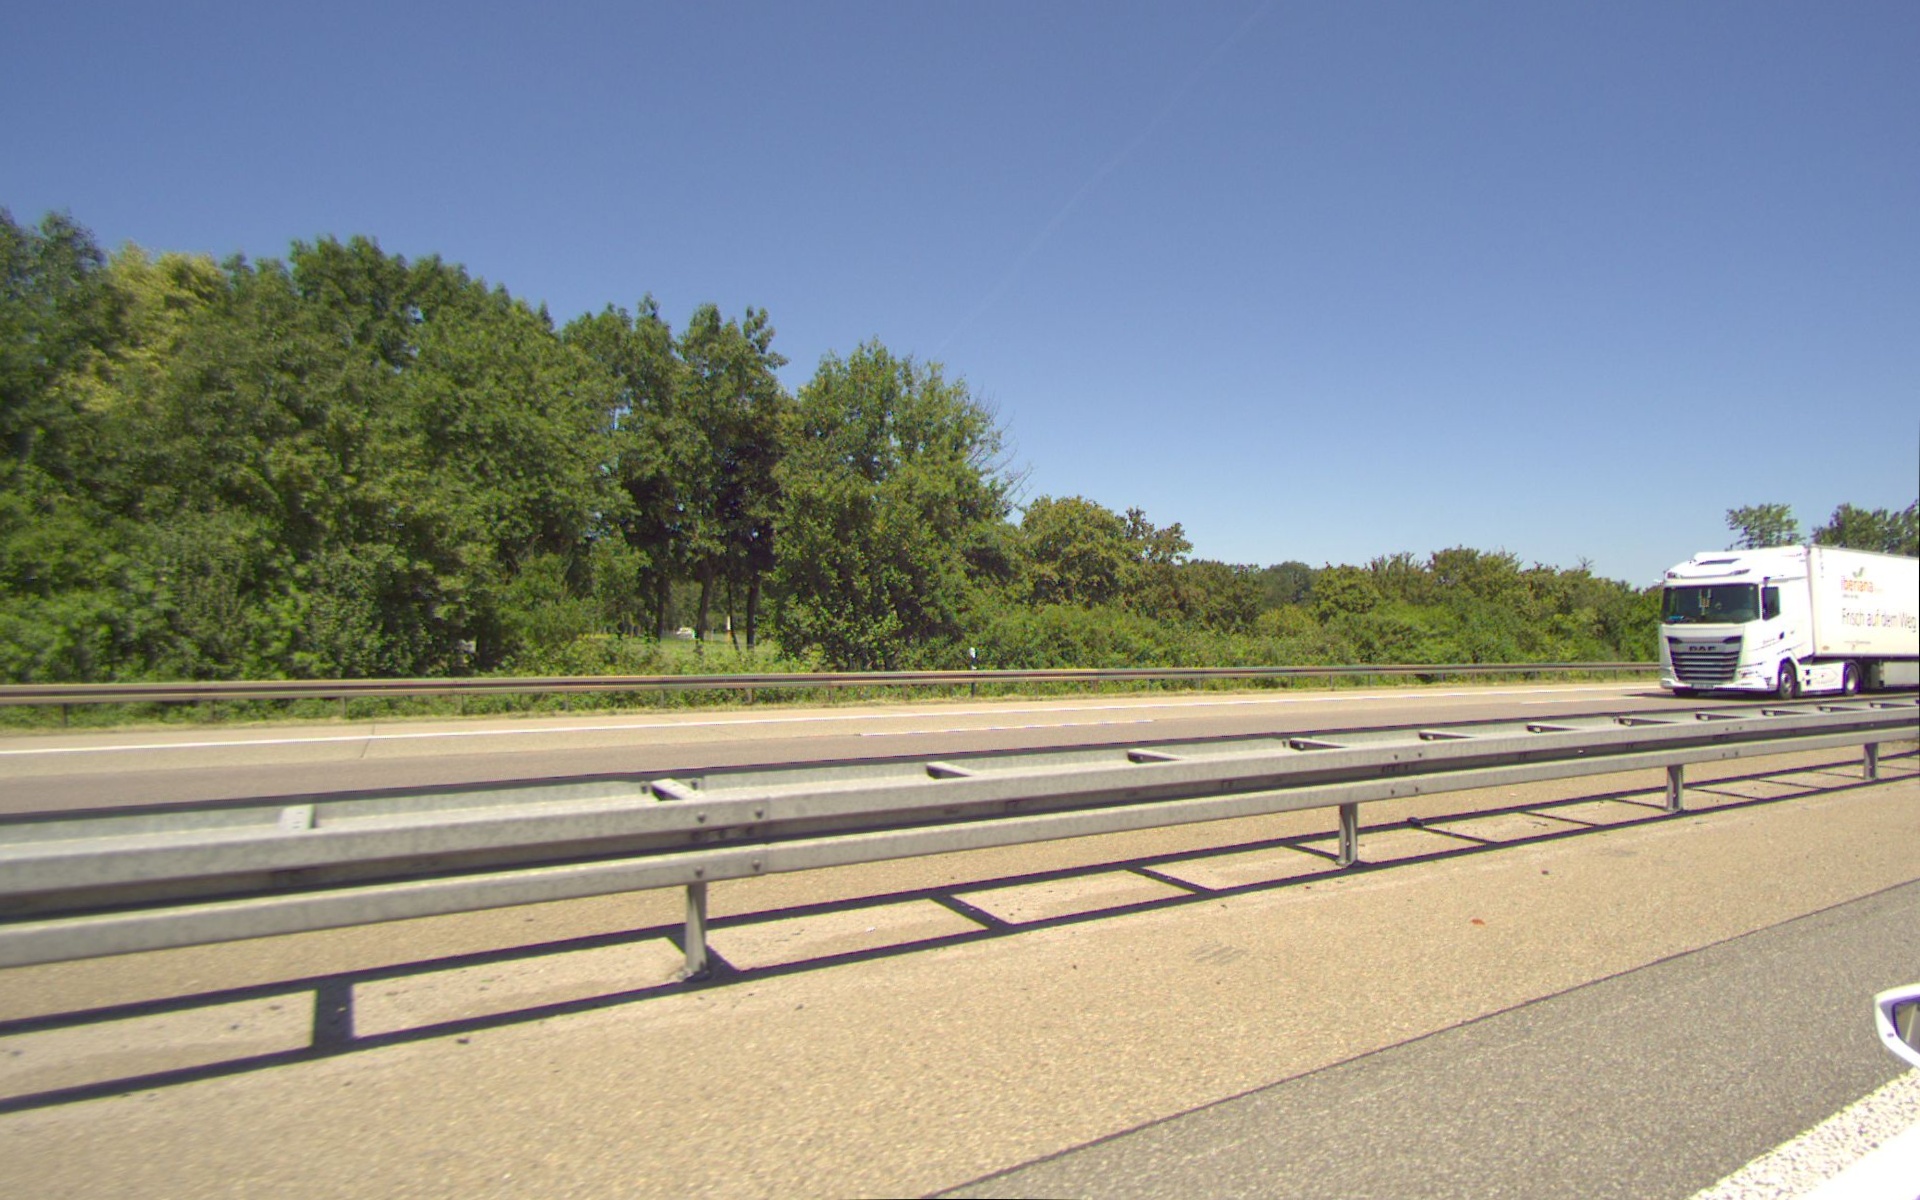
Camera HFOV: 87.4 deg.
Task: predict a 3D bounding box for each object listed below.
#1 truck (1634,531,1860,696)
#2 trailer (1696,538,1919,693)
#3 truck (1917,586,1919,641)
[{"bbox_3d":[21.897,0.471,27.896,6.142,4.138,2.729,1,-3,-29],"label":"truck"},{"bbox_3d":[28.282,0.643,31.504,14.174,4.138,2.728,2,-3,-29],"label":"trailer"},{"bbox_3d":[49.260,1.404,48.464,6.079,4.156,2.745,2,-4,-30],"label":"truck"}]
